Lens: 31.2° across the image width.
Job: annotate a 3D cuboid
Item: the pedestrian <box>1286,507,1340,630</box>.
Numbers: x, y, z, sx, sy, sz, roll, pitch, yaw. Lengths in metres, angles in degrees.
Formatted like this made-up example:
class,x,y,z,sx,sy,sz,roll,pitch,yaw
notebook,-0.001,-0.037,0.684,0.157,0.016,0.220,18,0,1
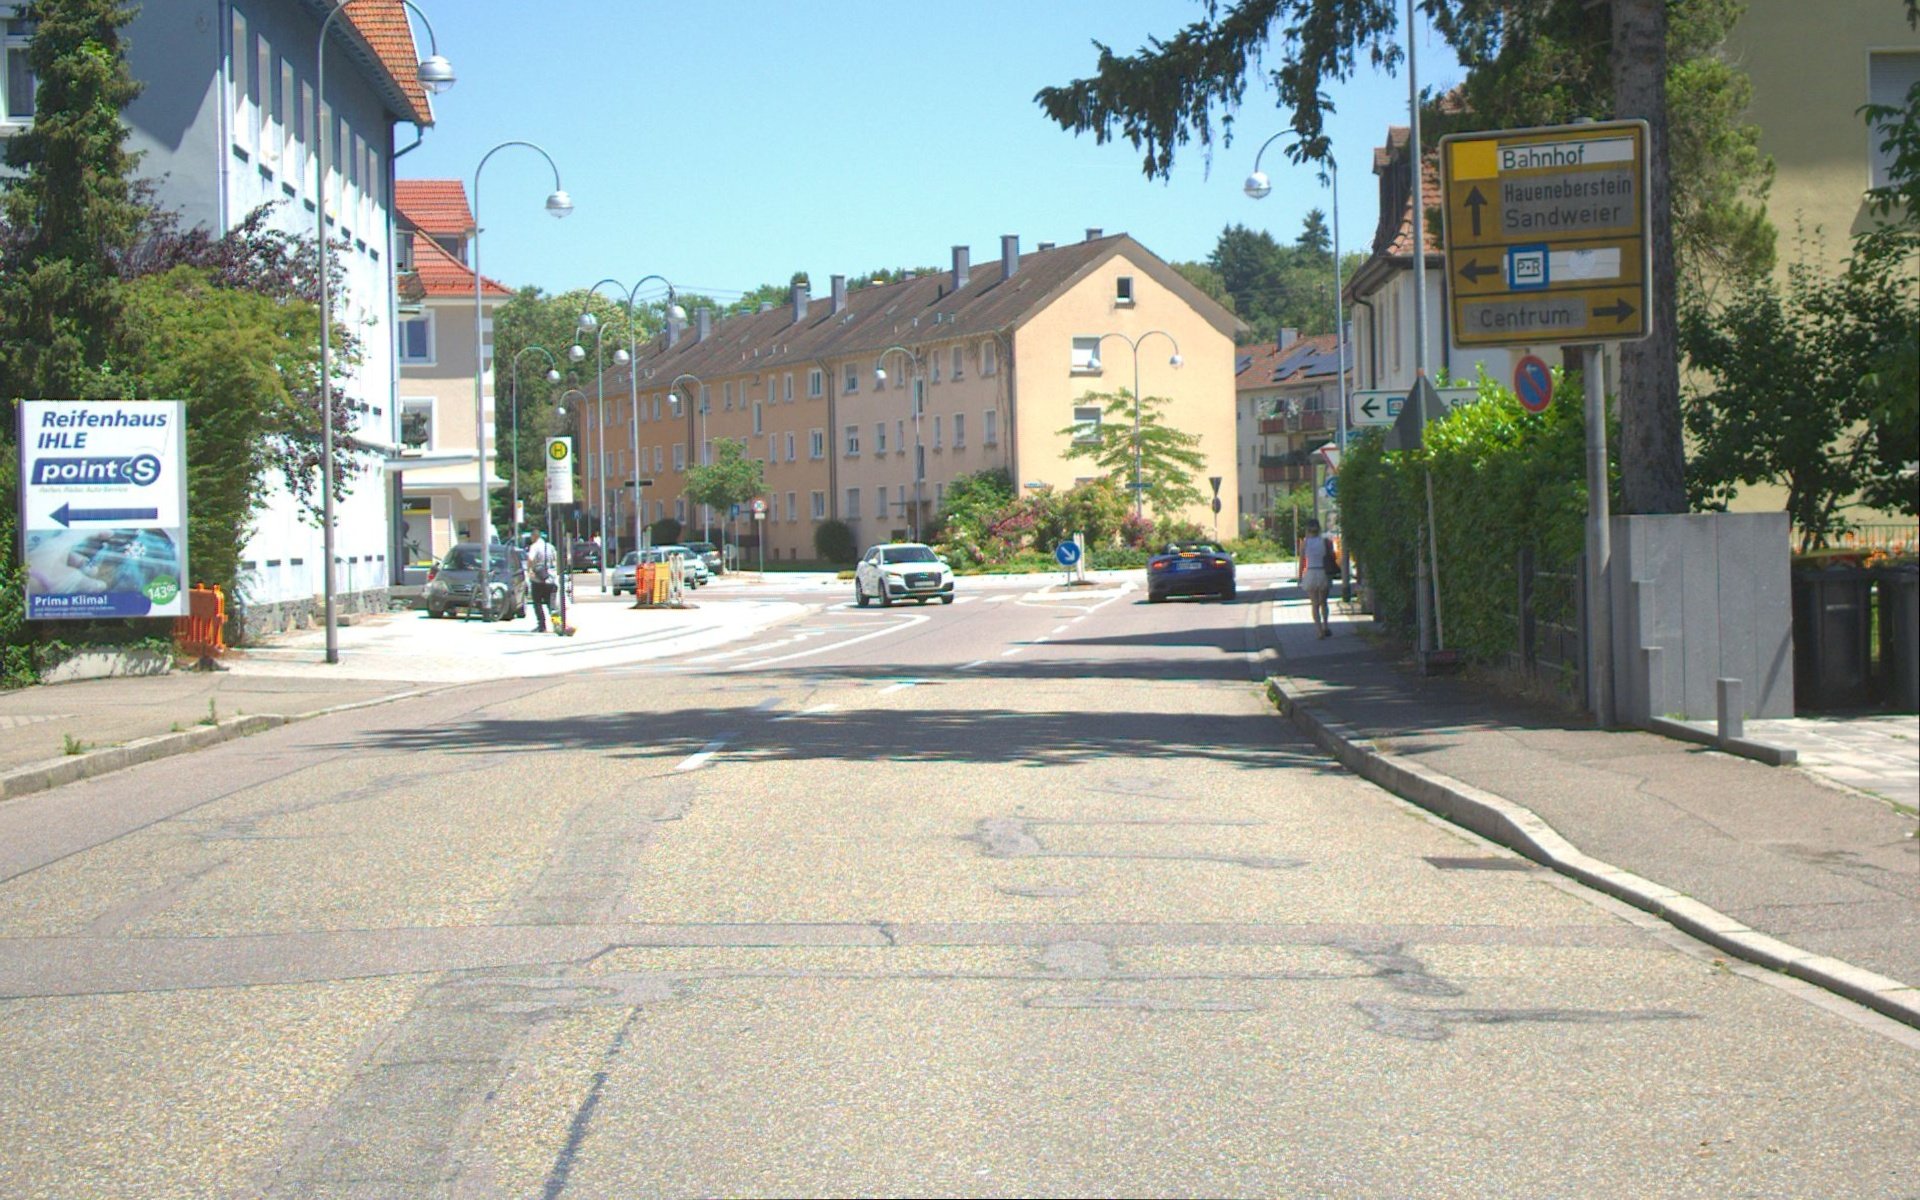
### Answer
class,x,y,z,sx,sy,sz,roll,pitch,yaw
pedestrian,4.785,-0.434,46.638,0.623,1.638,0.772,-2,1,1

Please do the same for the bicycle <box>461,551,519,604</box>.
class,x,y,z,sx,sy,sz,roll,pitch,yaw
bicycle,-9.009,-0.439,65.920,0.496,0.974,1.972,3,1,9

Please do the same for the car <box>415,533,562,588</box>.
class,x,y,z,sx,sy,sz,roll,pitch,yaw
car,-13.440,-1.139,98.080,4.114,1.545,1.788,0,1,-7

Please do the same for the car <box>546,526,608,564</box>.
class,x,y,z,sx,sy,sz,roll,pitch,yaw
car,-18.392,-2.618,164.967,1.812,1.788,4.001,0,1,-24

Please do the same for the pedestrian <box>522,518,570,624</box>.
class,x,y,z,sx,sy,sz,roll,pitch,yaw
pedestrian,-7.374,-0.517,61.269,0.755,1.842,0.772,2,1,-3

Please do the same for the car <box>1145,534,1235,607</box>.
class,x,y,z,sx,sy,sz,roll,pitch,yaw
car,5.076,-0.635,76.362,1.871,1.525,4.506,-1,0,3

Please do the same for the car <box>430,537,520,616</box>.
class,x,y,z,sx,sy,sz,roll,pitch,yaw
car,-9.843,-0.448,69.925,1.577,1.529,3.776,-1,0,-5

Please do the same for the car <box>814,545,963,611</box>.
class,x,y,z,sx,sy,sz,roll,pitch,yaw
car,-1.795,-0.533,85.347,1.821,1.525,3.949,-1,0,-34
